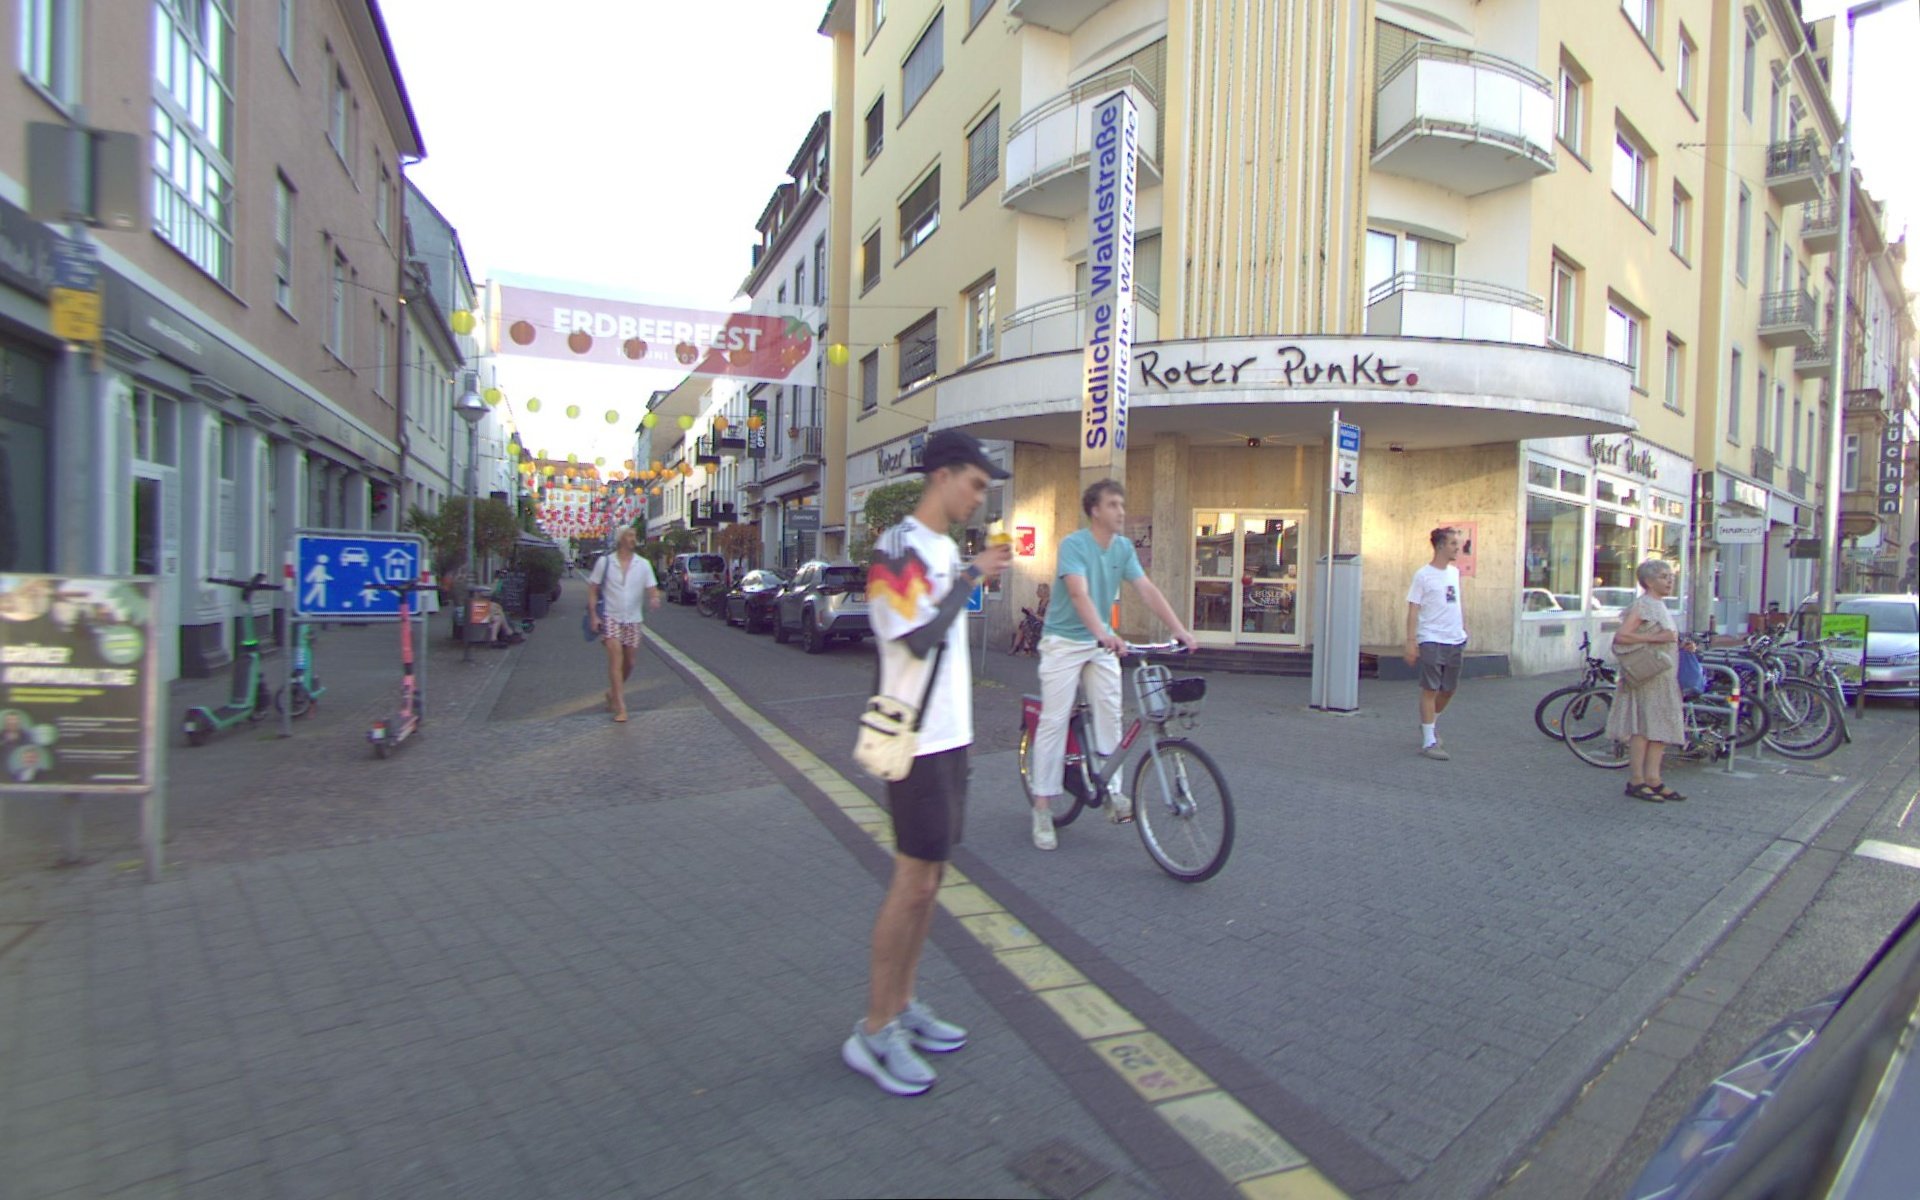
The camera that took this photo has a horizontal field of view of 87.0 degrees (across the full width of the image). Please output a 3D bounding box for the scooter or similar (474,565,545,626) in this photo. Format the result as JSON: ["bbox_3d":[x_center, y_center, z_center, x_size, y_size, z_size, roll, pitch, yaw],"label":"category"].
[{"bbox_3d":[-9.140,-0.098,20.544,1.283,1.198,0.394,2,1,7],"label":"scooter or similar"}]

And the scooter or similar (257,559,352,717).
[{"bbox_3d":[-5.667,0.286,8.795,0.356,1.276,1.207,1,2,-17],"label":"scooter or similar"}]

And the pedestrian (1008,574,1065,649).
[{"bbox_3d":[1.262,0.187,16.698,0.691,1.199,0.638,1,1,-25],"label":"pedestrian"}]

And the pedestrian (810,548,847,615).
[{"bbox_3d":[-3.387,-0.478,26.072,0.740,1.689,0.803,1,1,-23],"label":"pedestrian"}]

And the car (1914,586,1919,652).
[{"bbox_3d":[26.866,0.508,26.844,4.354,1.694,1.875,0,2,-42],"label":"car"}]

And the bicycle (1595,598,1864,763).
[{"bbox_3d":[6.909,0.660,9.158,1.843,1.254,0.629,4,3,43],"label":"bicycle"}]

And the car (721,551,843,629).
[{"bbox_3d":[-4.214,-0.287,23.379,1.905,1.604,4.452,1,2,-22],"label":"car"}]

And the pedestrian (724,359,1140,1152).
[{"bbox_3d":[-0.058,0.356,3.021,0.932,1.921,0.818,2,2,27],"label":"pedestrian"}]

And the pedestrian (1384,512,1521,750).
[{"bbox_3d":[4.036,0.219,8.375,0.815,1.839,0.867,2,2,16],"label":"pedestrian"}]

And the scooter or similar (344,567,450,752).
[{"bbox_3d":[-4.112,0.385,7.450,0.458,1.229,1.261,1,2,-19],"label":"scooter or similar"}]

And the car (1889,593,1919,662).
[{"bbox_3d":[22.789,0.610,23.217,4.531,1.475,1.737,0,2,-42],"label":"car"}]

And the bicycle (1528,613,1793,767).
[{"bbox_3d":[6.023,0.720,8.794,1.778,1.076,0.709,5,3,37],"label":"bicycle"}]

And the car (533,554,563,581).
[{"bbox_3d":[-25.640,-2.042,63.044,1.598,1.604,3.662,1,1,-20],"label":"car"}]

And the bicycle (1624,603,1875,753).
[{"bbox_3d":[7.459,0.686,9.669,1.778,1.187,0.614,5,3,37],"label":"bicycle"}]

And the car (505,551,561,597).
[{"bbox_3d":[-15.876,-0.963,37.756,1.598,1.604,3.662,1,1,-18],"label":"car"}]

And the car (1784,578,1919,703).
[{"bbox_3d":[14.051,0.529,15.499,4.606,1.636,1.699,0,2,-44],"label":"car"}]

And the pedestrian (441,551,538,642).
[{"bbox_3d":[-7.719,-0.055,16.614,1.208,1.430,0.890,2,0,-41],"label":"pedestrian"}]

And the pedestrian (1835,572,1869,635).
[{"bbox_3d":[29.093,0.102,33.003,0.836,2.038,0.673,0,1,-42],"label":"pedestrian"}]

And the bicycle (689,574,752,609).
[{"bbox_3d":[-6.866,-0.245,29.014,1.678,0.966,0.592,1,2,-6],"label":"bicycle"}]

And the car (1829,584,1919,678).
[{"bbox_3d":[18.496,0.555,19.734,4.131,1.641,1.820,0,2,-42],"label":"car"}]

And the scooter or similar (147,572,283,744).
[{"bbox_3d":[-5.506,0.379,7.539,0.356,1.157,1.309,1,2,-15],"label":"scooter or similar"}]

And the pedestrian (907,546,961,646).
[{"bbox_3d":[-0.455,-0.077,17.621,0.740,1.689,0.735,1,1,-16],"label":"pedestrian"}]

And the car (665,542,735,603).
[{"bbox_3d":[-9.656,-1.046,37.383,1.878,2.109,4.009,1,2,-23],"label":"car"}]

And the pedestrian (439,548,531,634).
[{"bbox_3d":[-8.259,-0.149,17.590,1.208,1.430,0.890,2,0,-41],"label":"pedestrian"}]

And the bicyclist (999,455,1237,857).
[{"bbox_3d":[0.798,0.243,5.216,0.815,1.848,0.836,0,2,-34],"label":"bicyclist"}]

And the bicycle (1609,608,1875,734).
[{"bbox_3d":[8.396,0.702,10.960,2.168,1.088,0.794,5,3,42],"label":"bicycle"}]

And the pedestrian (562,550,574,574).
[{"bbox_3d":[-31.268,-3.010,80.776,0.774,1.906,0.863,1,2,-26],"label":"pedestrian"}]

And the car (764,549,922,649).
[{"bbox_3d":[-2.236,-0.088,18.353,1.797,1.612,3.998,1,2,-22],"label":"car"}]

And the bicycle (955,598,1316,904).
[{"bbox_3d":[0.802,0.634,5.220,0.778,1.200,1.827,0,2,-33],"label":"bicycle"}]

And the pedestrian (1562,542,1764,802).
[{"bbox_3d":[4.820,0.455,6.998,0.765,1.673,0.792,1,2,1],"label":"pedestrian"}]

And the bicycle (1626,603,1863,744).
[{"bbox_3d":[7.826,0.689,10.192,1.778,1.187,0.614,5,3,37],"label":"bicycle"}]

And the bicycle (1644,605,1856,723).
[{"bbox_3d":[9.057,0.693,11.696,1.840,1.136,0.587,4,4,37],"label":"bicycle"}]

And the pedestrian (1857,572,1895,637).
[{"bbox_3d":[29.532,0.136,32.619,0.836,2.038,0.763,0,1,-42],"label":"pedestrian"}]

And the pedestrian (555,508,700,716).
[{"bbox_3d":[-3.096,0.078,9.402,1.096,1.797,0.814,3,2,40],"label":"pedestrian"}]

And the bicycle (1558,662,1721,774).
[{"bbox_3d":[5.513,0.919,8.204,1.003,0.689,1.036,3,2,39],"label":"bicycle"}]
